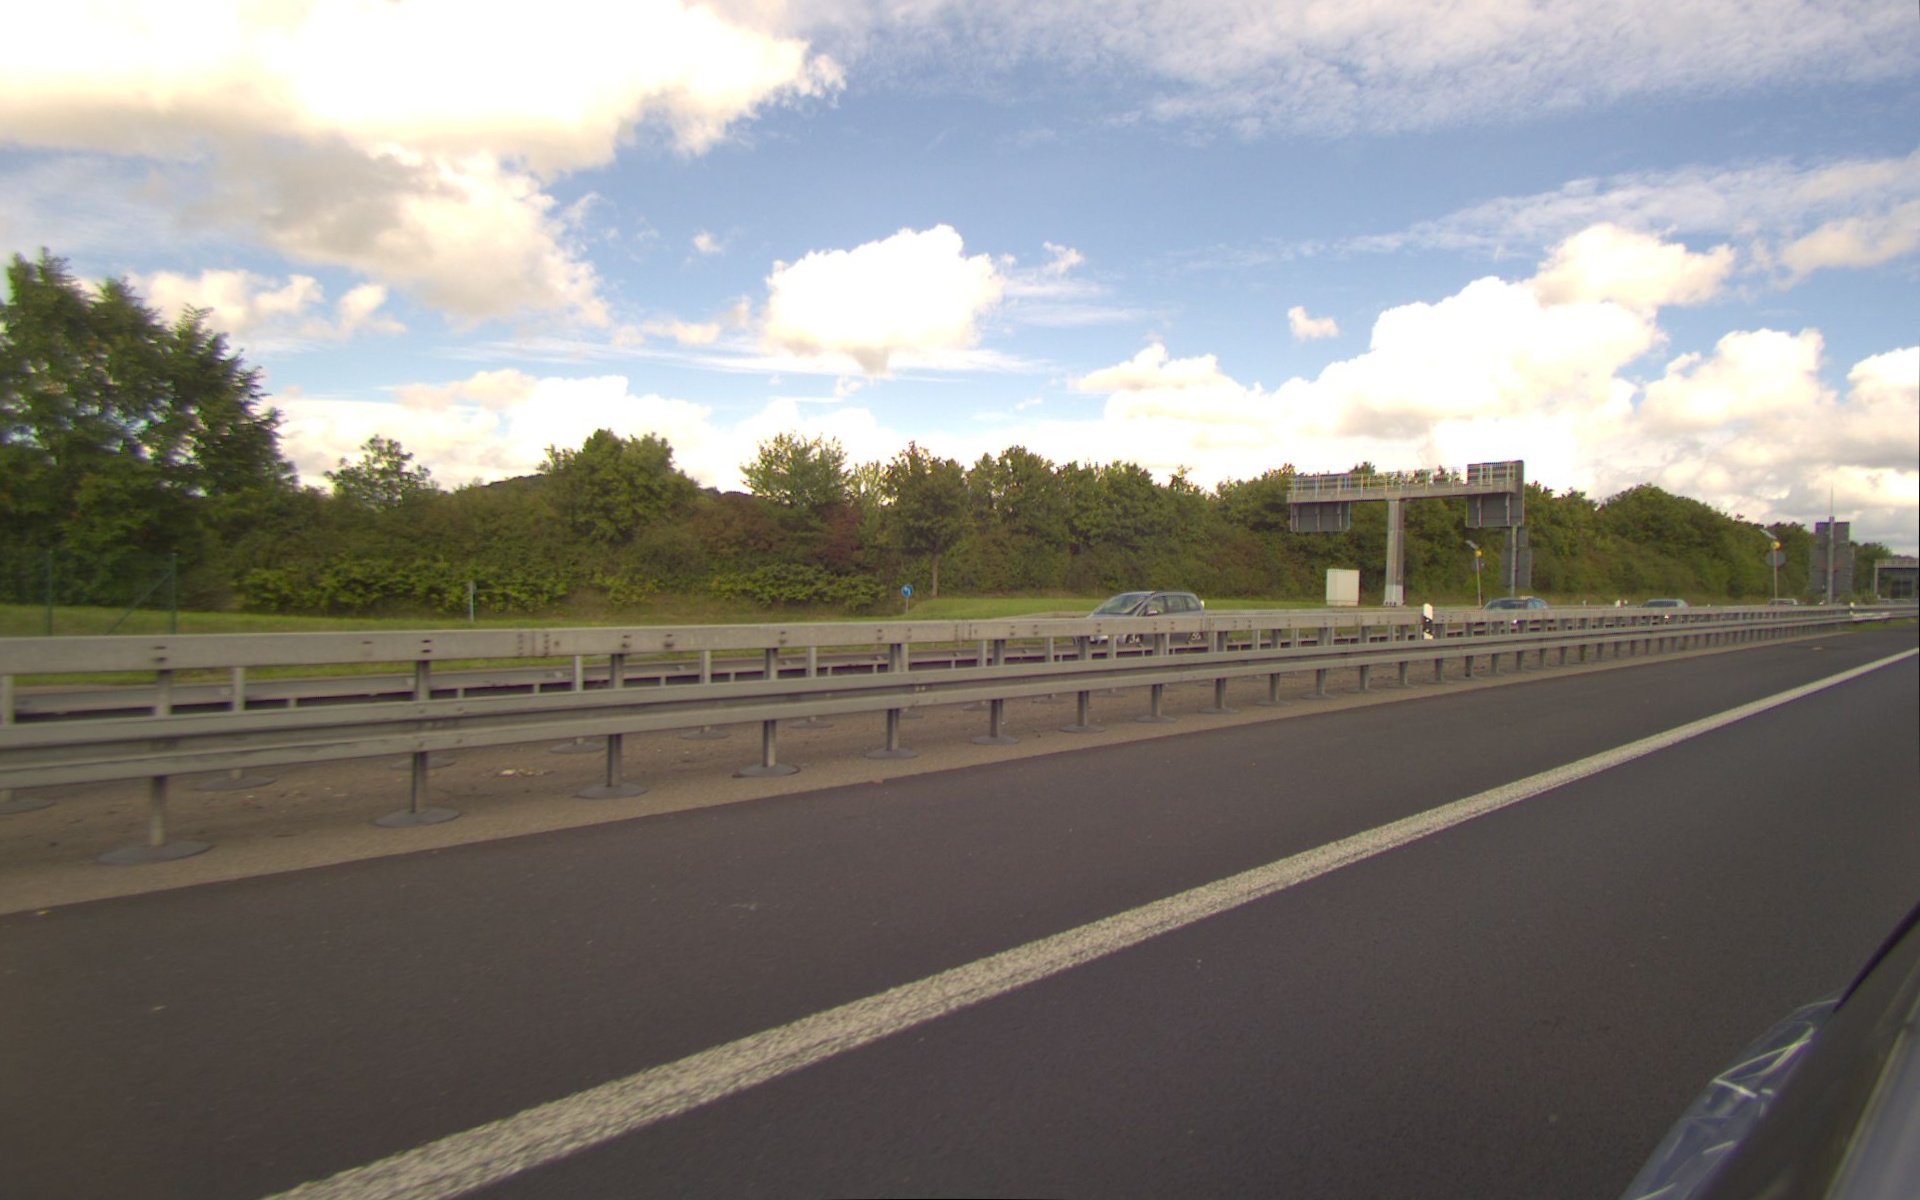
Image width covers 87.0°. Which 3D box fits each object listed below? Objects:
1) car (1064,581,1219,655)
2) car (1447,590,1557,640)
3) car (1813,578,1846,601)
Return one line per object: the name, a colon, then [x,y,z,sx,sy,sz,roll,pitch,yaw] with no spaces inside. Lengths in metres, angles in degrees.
car: [4.829,0.421,26.693,3.931,1.729,1.997,0,3,-42]
car: [17.836,0.432,33.235,3.932,1.503,1.996,-1,2,-43]
car: [88.236,-1.060,102.677,5.041,2.213,1.996,0,2,-43]
